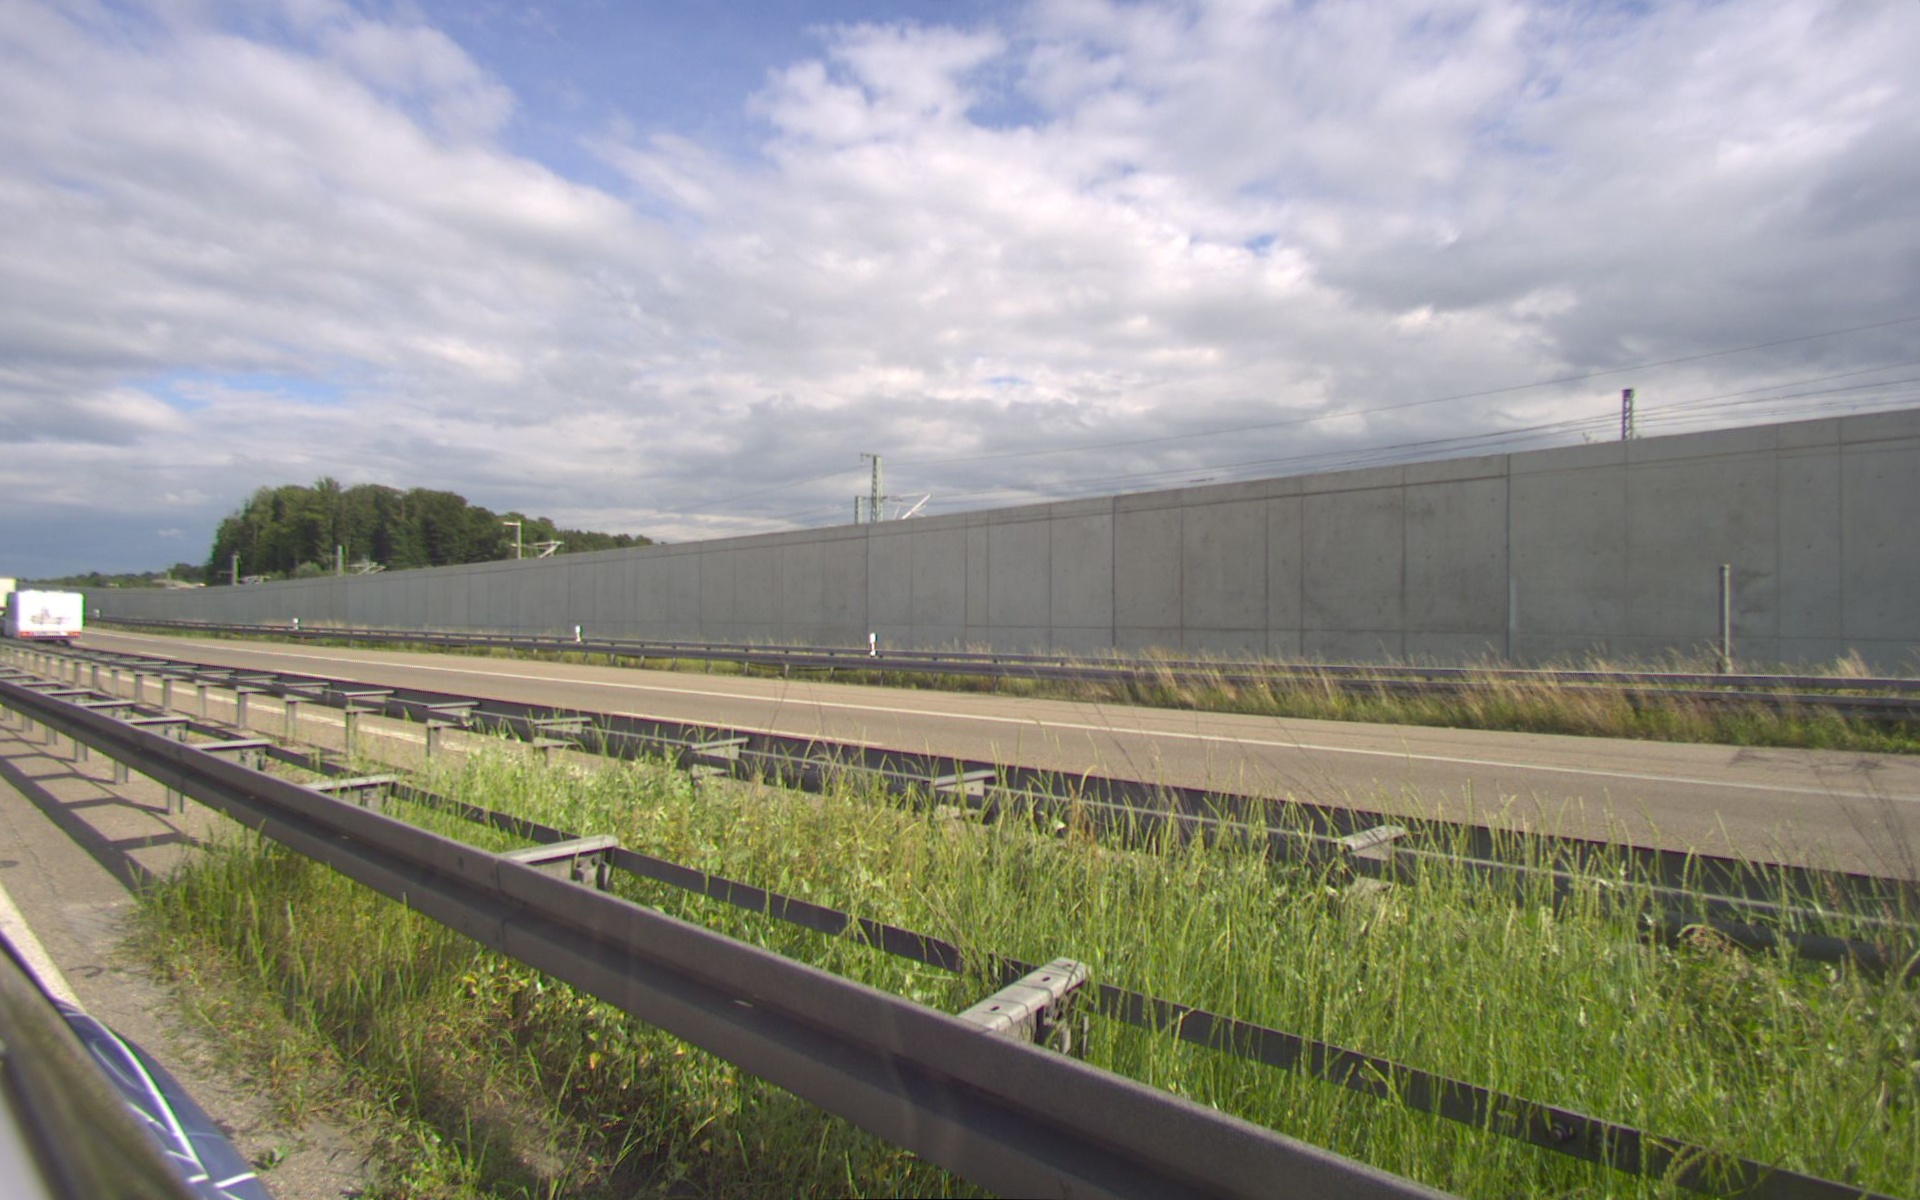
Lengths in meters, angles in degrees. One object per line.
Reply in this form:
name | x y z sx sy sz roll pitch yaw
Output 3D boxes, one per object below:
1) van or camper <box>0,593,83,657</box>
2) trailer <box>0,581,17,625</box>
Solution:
van or camper | -42.542 1.140 46.621 7.166 2.724 2.229 -1 -1 41
trailer | -95.677 0.334 99.545 13.511 4.108 2.761 -1 -3 41
